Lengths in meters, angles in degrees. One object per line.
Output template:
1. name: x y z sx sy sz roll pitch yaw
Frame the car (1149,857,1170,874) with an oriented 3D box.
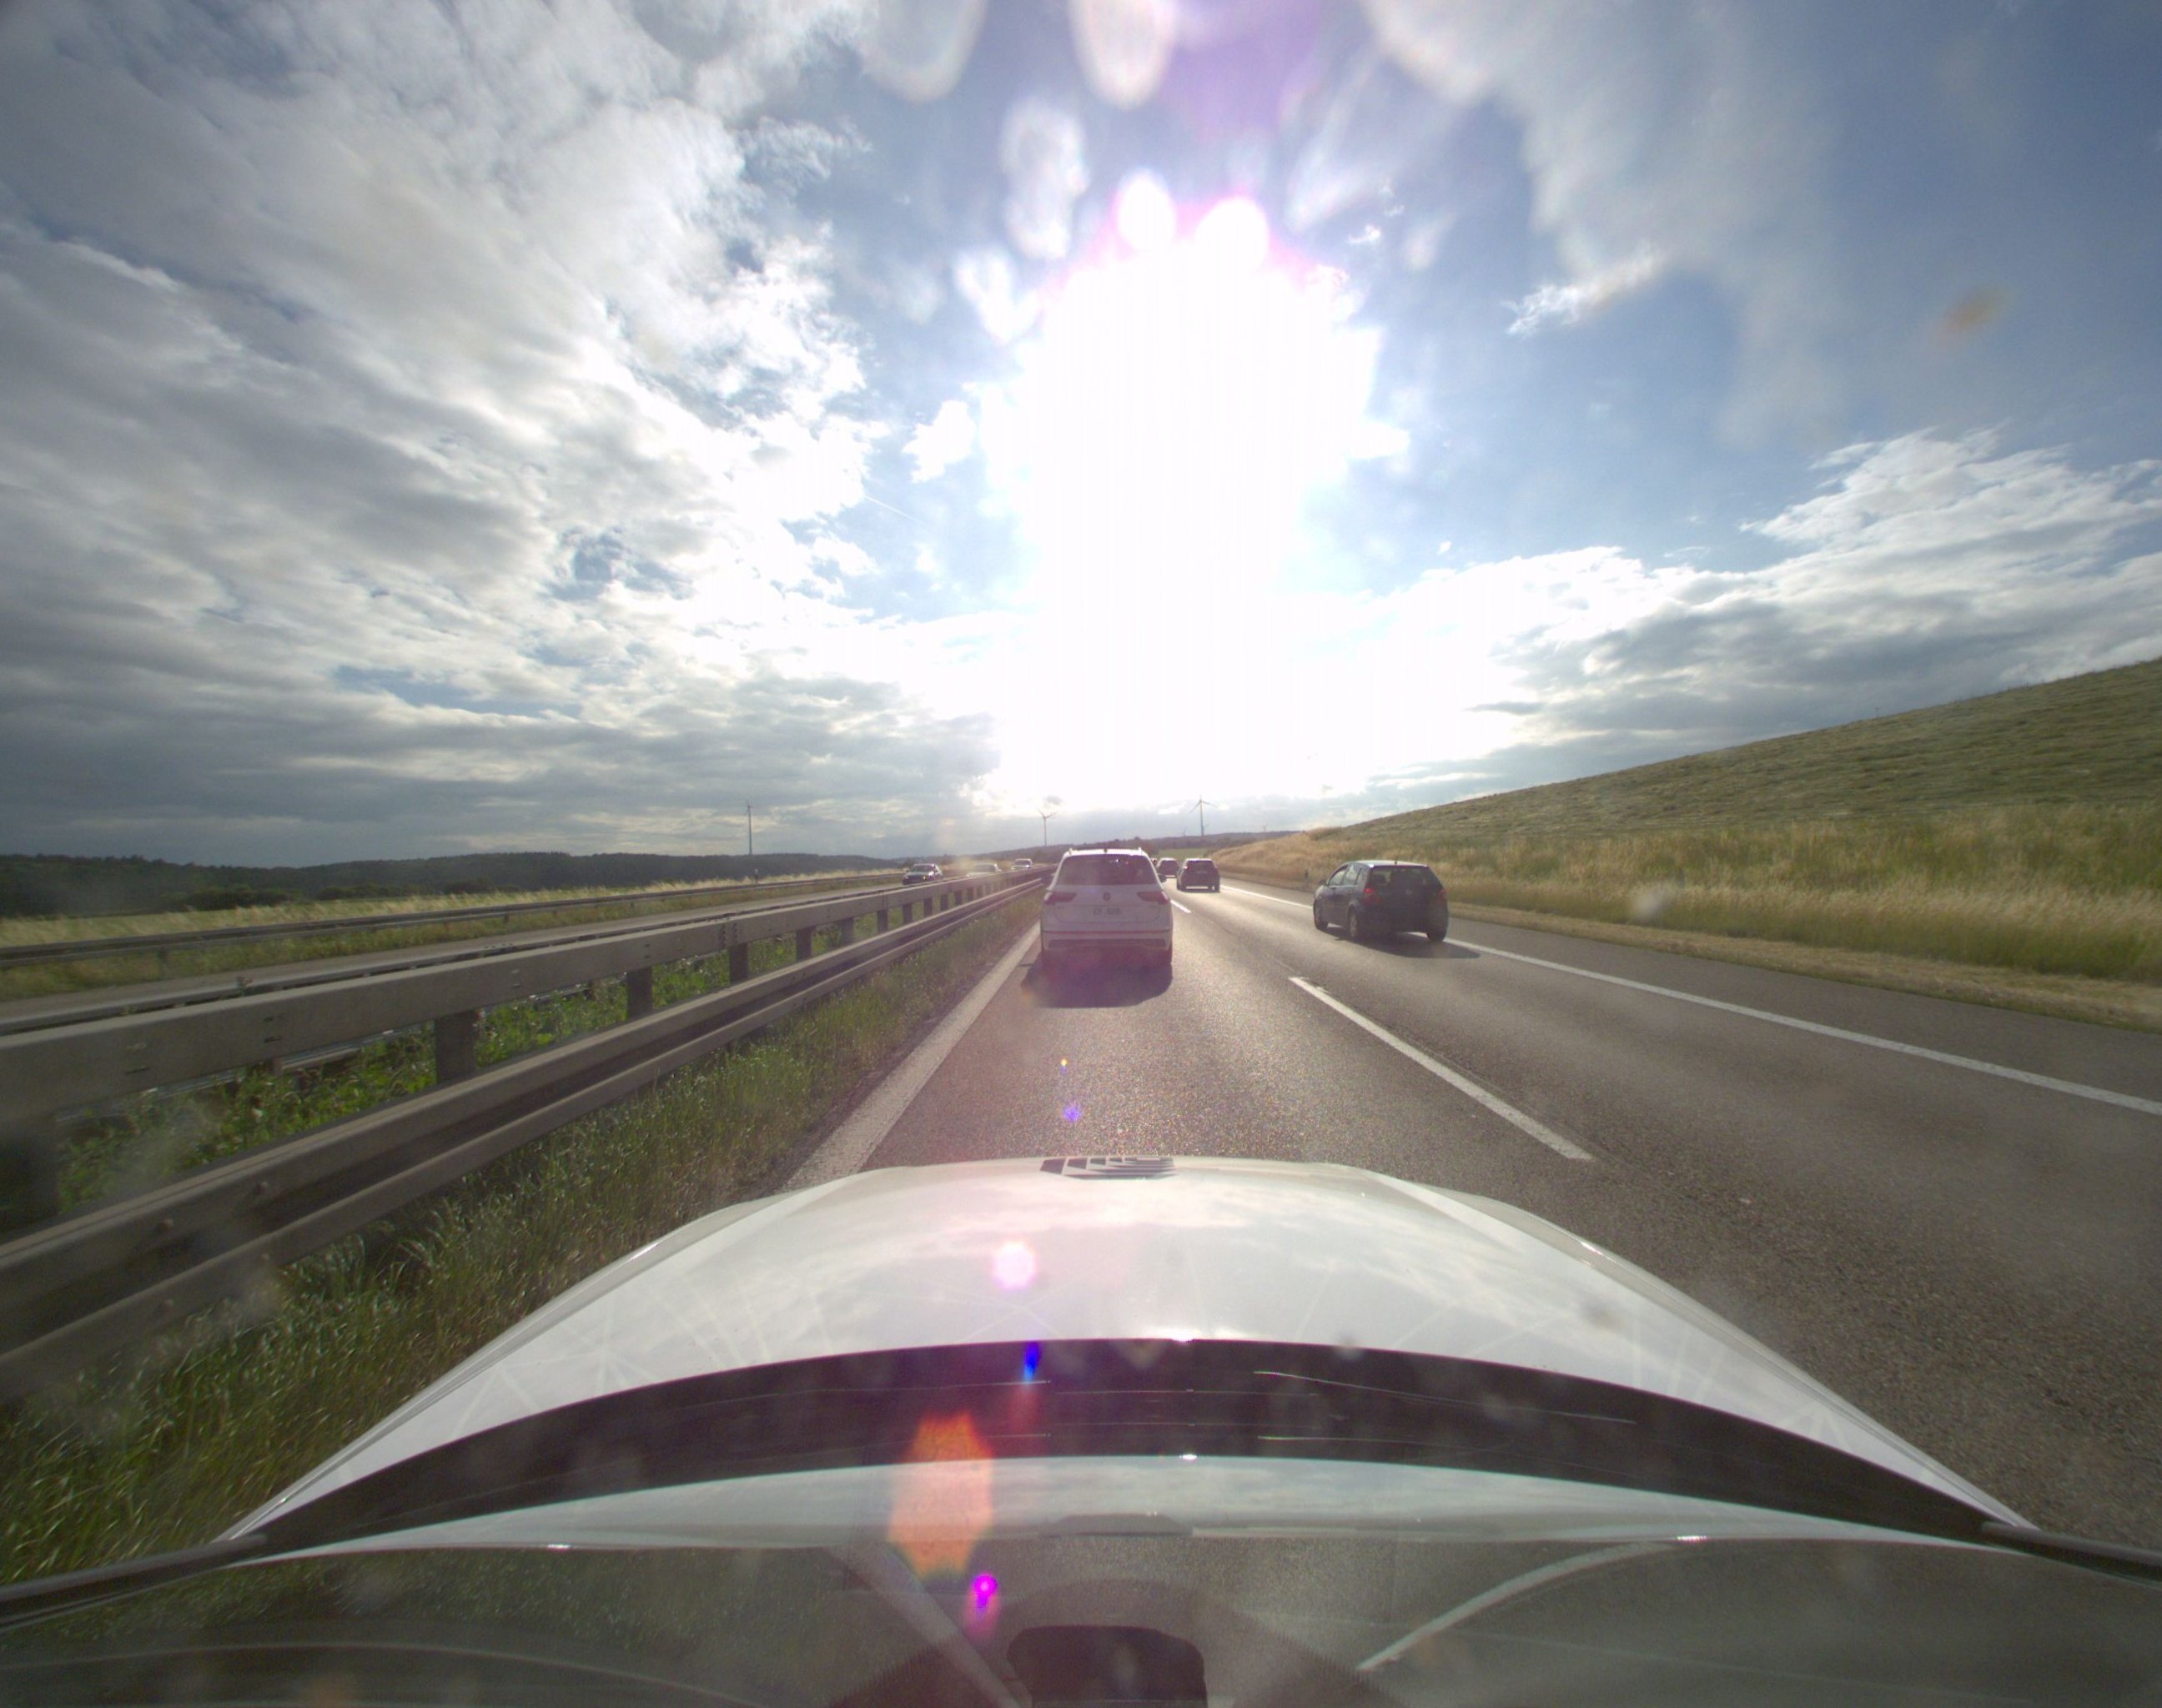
1. car: 7.552 1.125 78.423 1.698 1.546 4.001 -1 -1 1

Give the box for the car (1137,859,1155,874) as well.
1. car: 7.085 1.326 88.707 1.698 1.546 4.001 -1 -1 1

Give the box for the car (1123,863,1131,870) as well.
1. car: 10.726 2.958 188.979 1.697 1.546 4.003 -1 -1 3

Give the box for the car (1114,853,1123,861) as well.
1. car: 6.978 0.591 152.504 1.698 1.546 4.001 -1 -1 1

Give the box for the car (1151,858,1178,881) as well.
1. car: 6.275 1.171 61.550 1.698 1.650 4.001 -1 -1 1

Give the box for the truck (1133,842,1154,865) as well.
1. truck: 10.274 -0.135 135.128 3.170 3.594 11.140 -1 0 3

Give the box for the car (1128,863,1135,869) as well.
1. car: 13.057 3.178 209.395 1.697 1.546 4.003 -1 -1 3

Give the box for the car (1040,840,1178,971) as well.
1. car: 0.415 0.690 12.535 1.763 1.676 4.001 -1 -1 1

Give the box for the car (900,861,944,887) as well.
1. car: -9.689 1.201 49.837 1.744 1.479 4.480 -1 -1 0

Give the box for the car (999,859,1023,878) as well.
1. car: -6.251 1.276 73.178 1.744 1.603 4.266 -1 -1 0

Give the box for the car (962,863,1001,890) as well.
1. car: -5.966 1.317 49.372 1.744 1.521 4.480 -1 -1 0

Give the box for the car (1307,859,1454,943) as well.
1. car: 5.617 0.821 15.729 1.599 1.420 3.674 -1 -1 2

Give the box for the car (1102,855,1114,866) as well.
1. car: 4.075 1.014 122.569 1.698 1.650 4.001 -1 -1 1

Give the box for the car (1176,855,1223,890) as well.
1. car: 5.461 0.850 37.990 1.698 1.546 4.001 -1 -1 1
